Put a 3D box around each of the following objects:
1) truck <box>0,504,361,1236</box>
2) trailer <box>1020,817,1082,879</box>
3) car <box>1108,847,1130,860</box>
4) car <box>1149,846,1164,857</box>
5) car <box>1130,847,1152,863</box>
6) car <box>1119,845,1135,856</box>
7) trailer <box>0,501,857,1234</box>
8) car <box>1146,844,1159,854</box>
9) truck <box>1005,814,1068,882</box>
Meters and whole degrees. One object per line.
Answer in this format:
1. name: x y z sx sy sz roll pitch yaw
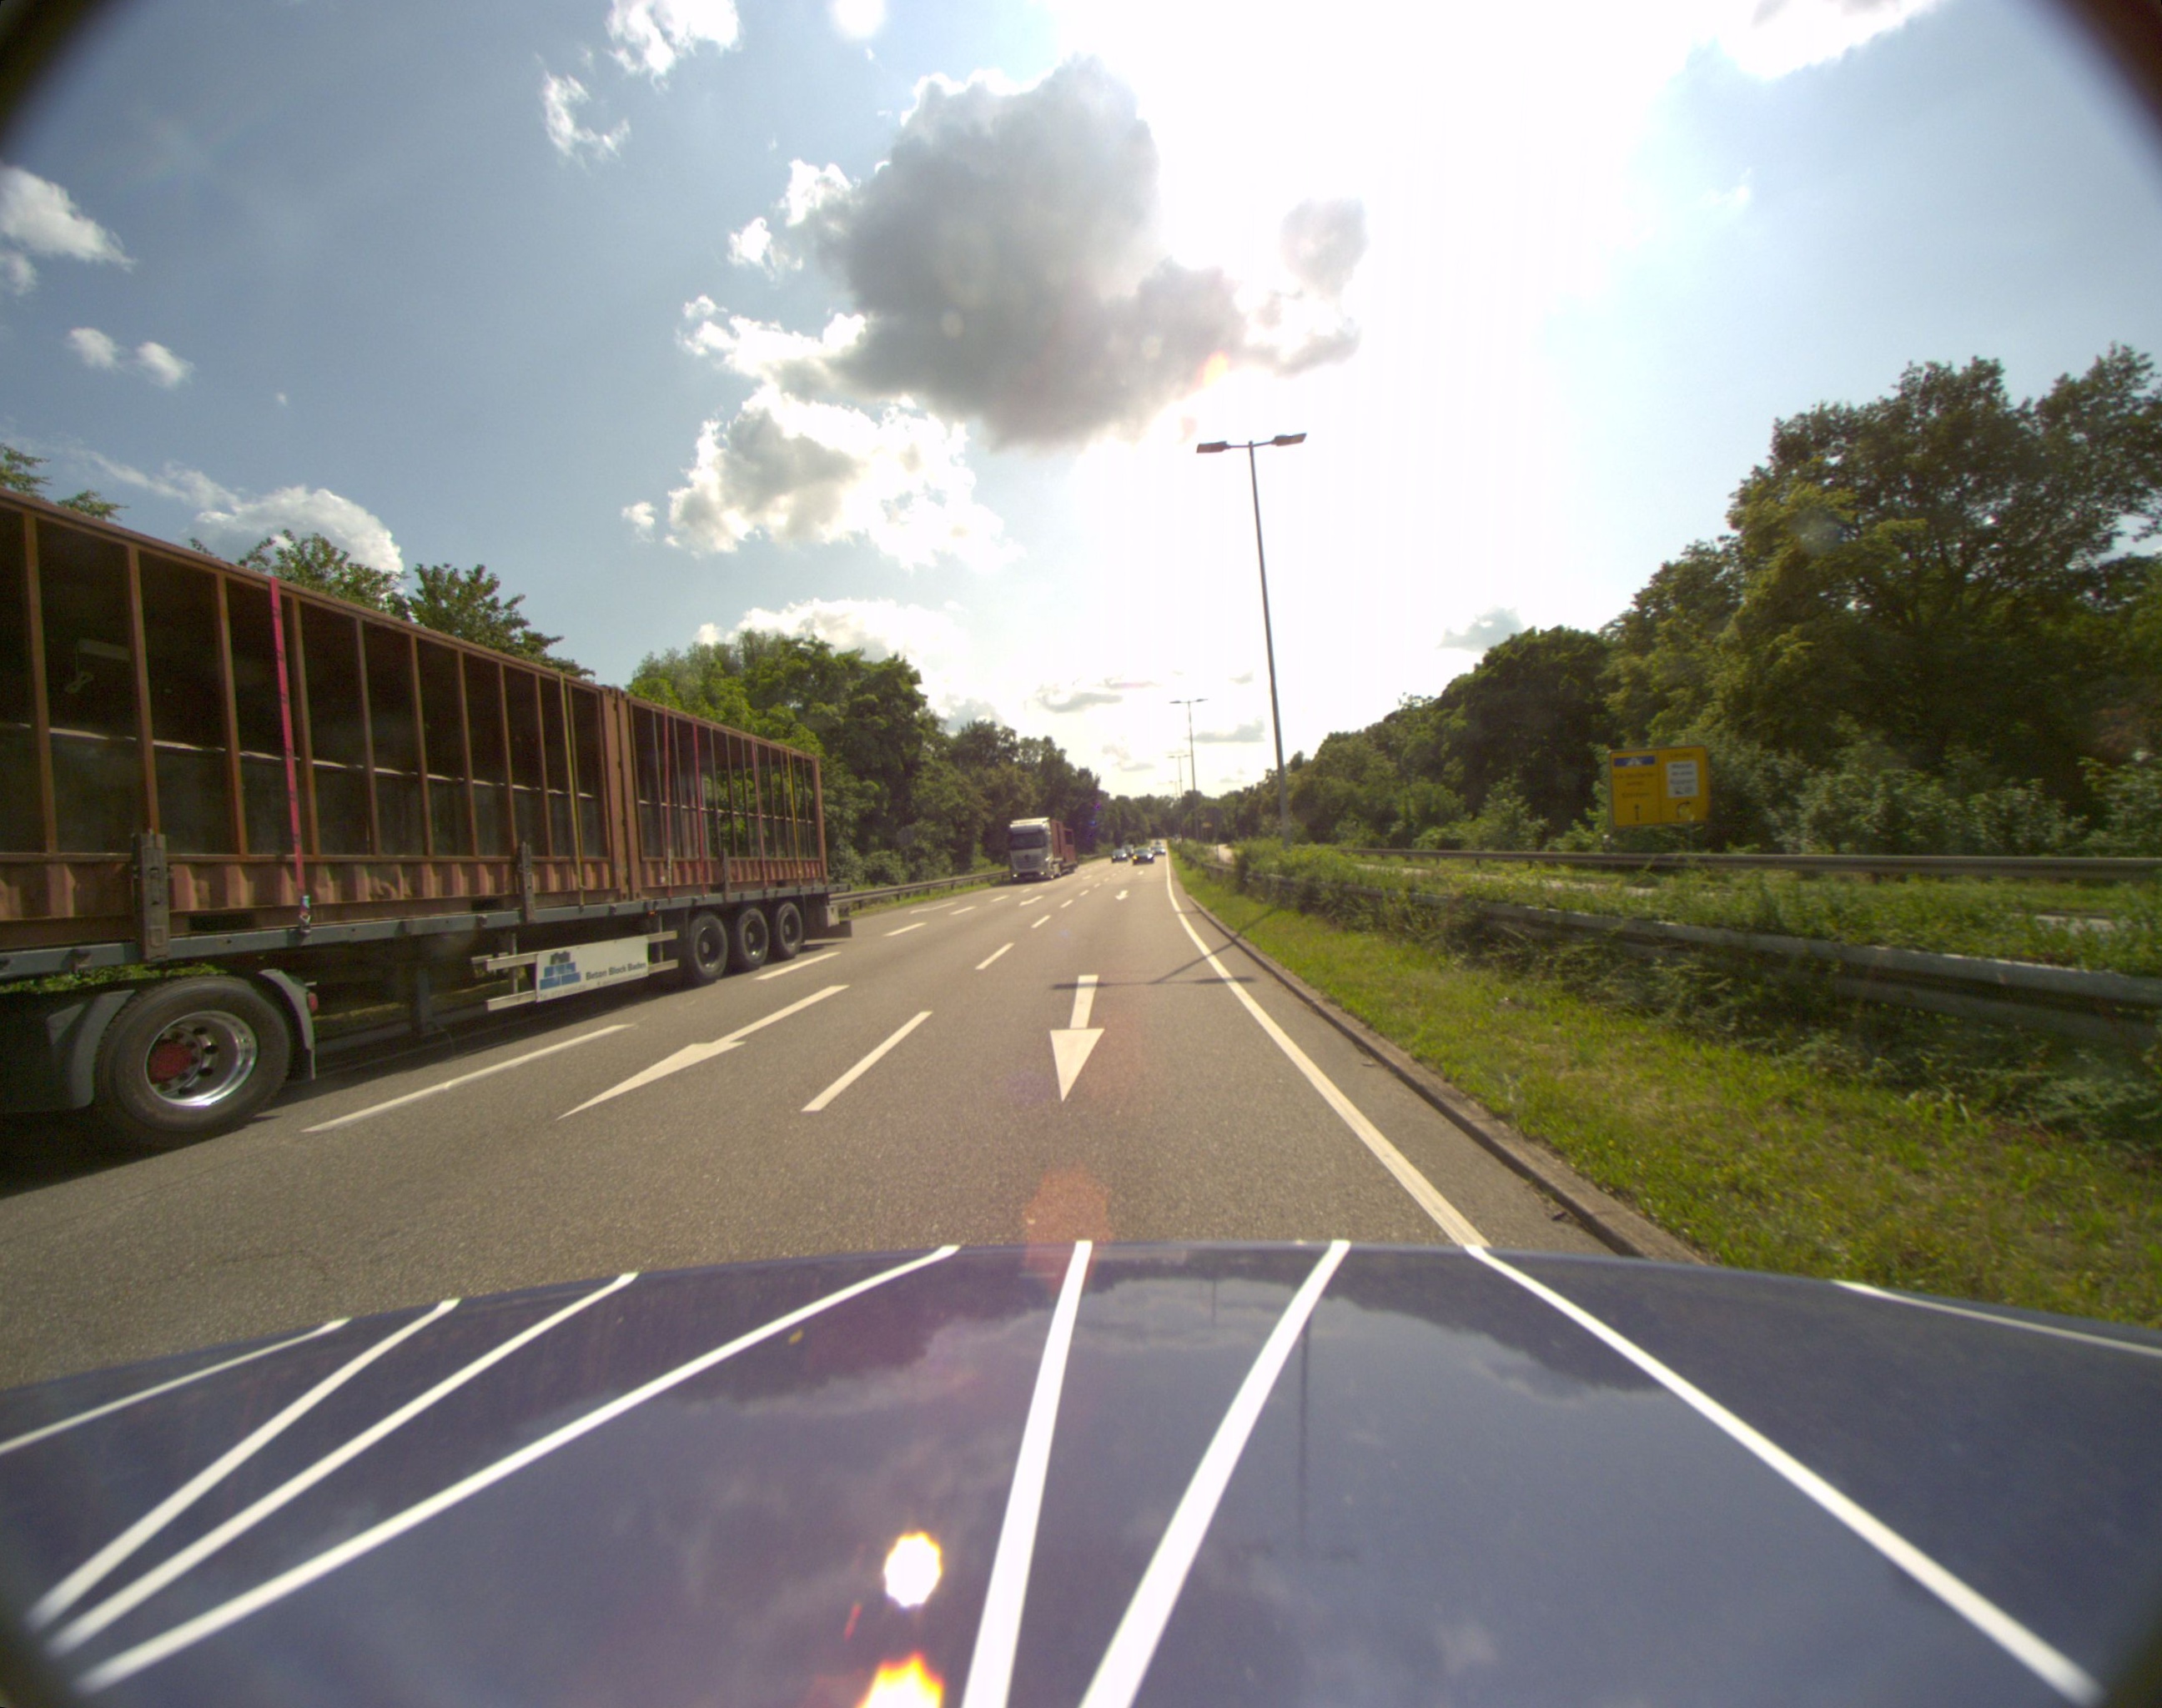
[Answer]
1. truck: -7.071 0.144 2.776 2.591 3.871 6.062 -5 0 3
2. trailer: -2.037 -0.425 57.554 2.694 3.948 12.396 -5 0 6
3. car: 4.310 -0.064 85.558 1.997 1.330 4.002 -3 0 8
4. car: 10.238 -0.352 102.954 1.796 1.368 4.002 -3 0 7
5. car: 5.411 0.078 68.193 1.796 1.368 4.002 -3 0 7
6. car: 6.267 -0.524 103.348 1.998 1.330 4.001 -3 0 5
7. trailer: -6.685 0.113 9.154 2.591 3.871 14.504 -5 0 3
8. car: 11.263 -0.812 119.107 1.796 1.368 4.002 -3 0 7
9. truck: -2.773 -0.371 50.083 2.690 3.948 7.386 -5 0 6
